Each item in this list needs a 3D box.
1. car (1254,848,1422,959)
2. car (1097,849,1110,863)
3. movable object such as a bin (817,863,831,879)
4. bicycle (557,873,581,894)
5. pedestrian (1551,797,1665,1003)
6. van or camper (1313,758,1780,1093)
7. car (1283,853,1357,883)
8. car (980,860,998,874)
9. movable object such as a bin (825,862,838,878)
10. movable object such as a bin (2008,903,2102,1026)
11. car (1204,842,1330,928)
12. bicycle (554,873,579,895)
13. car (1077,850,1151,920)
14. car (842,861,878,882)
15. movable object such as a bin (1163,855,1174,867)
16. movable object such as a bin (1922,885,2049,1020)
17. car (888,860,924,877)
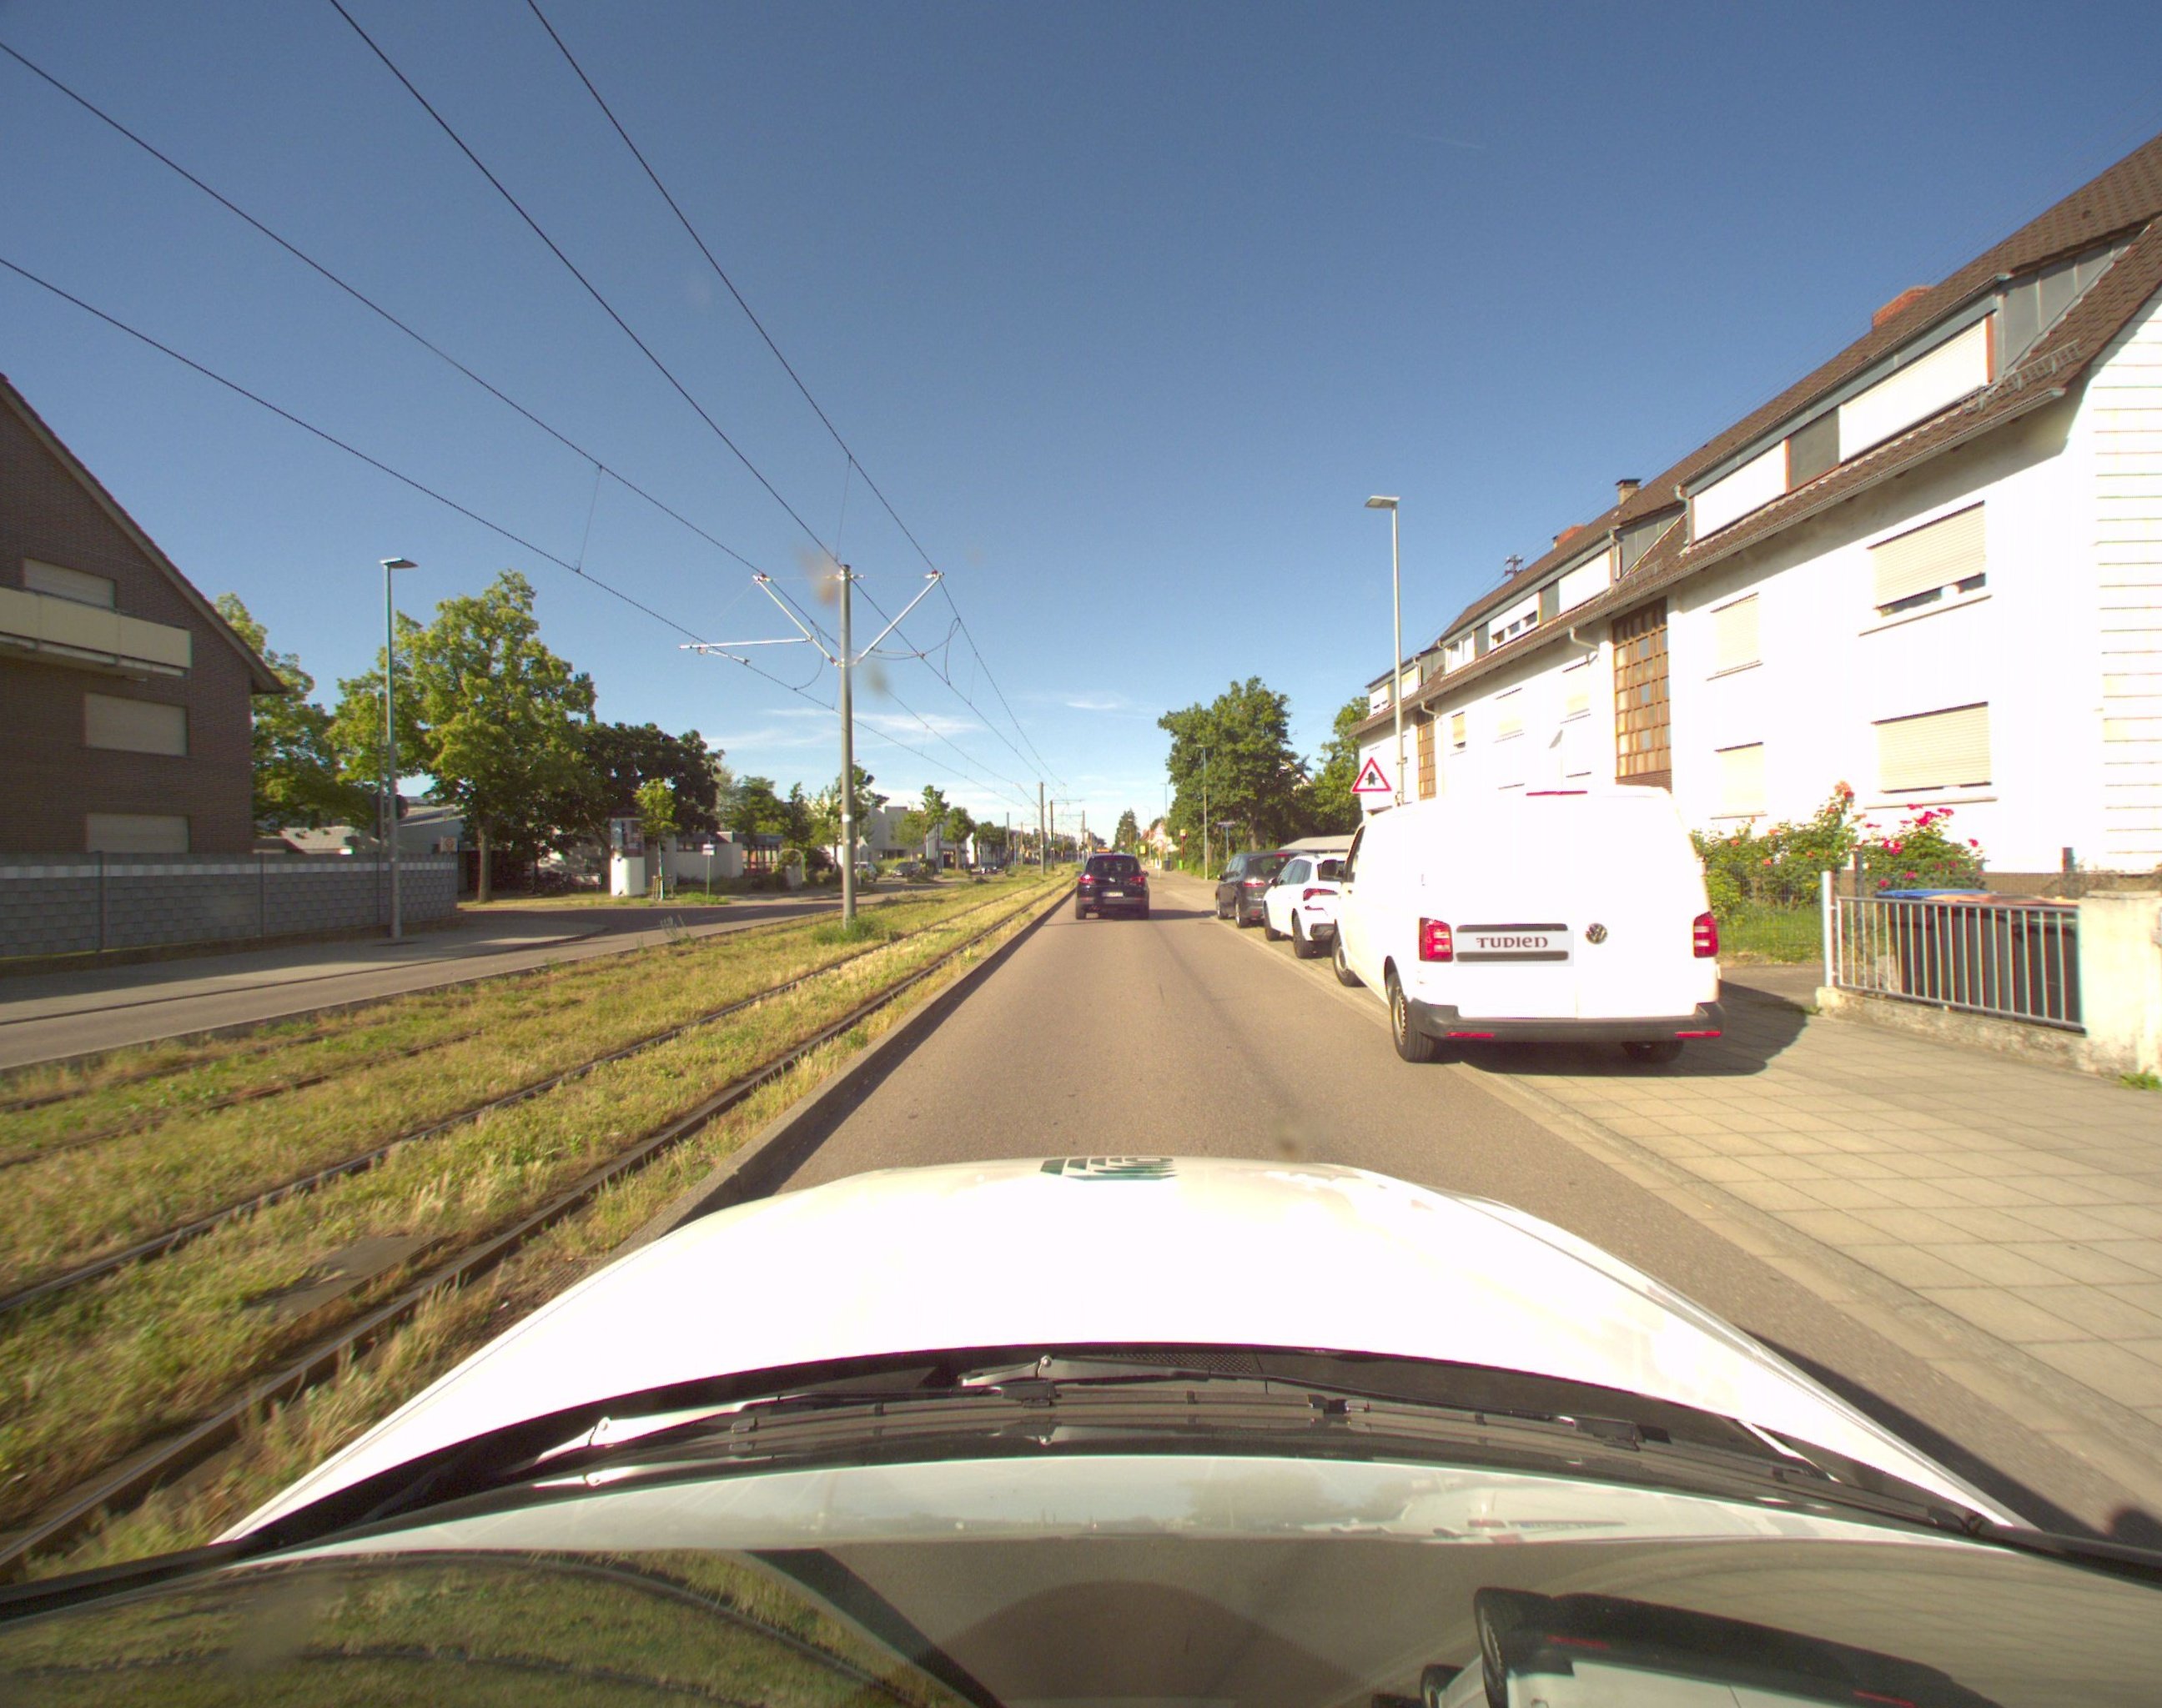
[{"bbox_3d":[4.014,0.702,13.401,1.649,1.492,4.163,-2,0,4],"label":"car"},{"bbox_3d":[4.340,0.352,158.022,2.385,2.564,5.533,-1,0,2],"label":"car"},{"bbox_3d":[-23.194,1.538,73.475,0.660,1.383,1.425,0,-1,10],"label":"movable object such as a bin"},{"bbox_3d":[-27.233,1.553,43.333,1.038,1.059,0.303,-2,0,-16],"label":"bicycle"},{"bbox_3d":[5.136,0.424,7.986,0.694,1.912,0.761,0,-1,10],"label":"pedestrian"},{"bbox_3d":[3.514,0.427,7.535,2.015,1.956,5.309,-2,0,10],"label":"van or camper"},{"bbox_3d":[13.034,0.756,44.548,3.579,1.530,1.648,-1,-1,3],"label":"car"},{"bbox_3d":[-10.015,1.377,88.782,1.685,1.389,4.380,-3,0,-5],"label":"car"},{"bbox_3d":[-23.006,1.474,75.077,0.660,1.433,1.258,0,-1,10],"label":"movable object such as a bin"},{"bbox_3d":[6.517,0.730,5.456,0.251,0.779,0.317,0,-1,4],"label":"movable object such as a bin"},{"bbox_3d":[4.123,0.628,18.866,1.785,1.628,4.861,-3,0,1],"label":"car"},{"bbox_3d":[-27.121,1.568,42.955,1.055,1.083,0.303,-2,0,-16],"label":"bicycle"},{"bbox_3d":[0.783,0.752,21.363,1.770,1.670,3.999,0,0,0],"label":"car"},{"bbox_3d":[-16.199,1.235,59.921,1.539,1.491,3.775,0,0,1],"label":"car"},{"bbox_3d":[8.183,0.678,75.875,0.971,1.111,1.172,-2,0,5],"label":"movable object such as a bin"},{"bbox_3d":[6.562,0.692,5.929,0.286,0.909,0.597,0,-1,5],"label":"movable object such as a bin"},{"bbox_3d":[-15.695,1.295,73.223,1.801,1.461,4.325,0,0,6],"label":"car"}]
